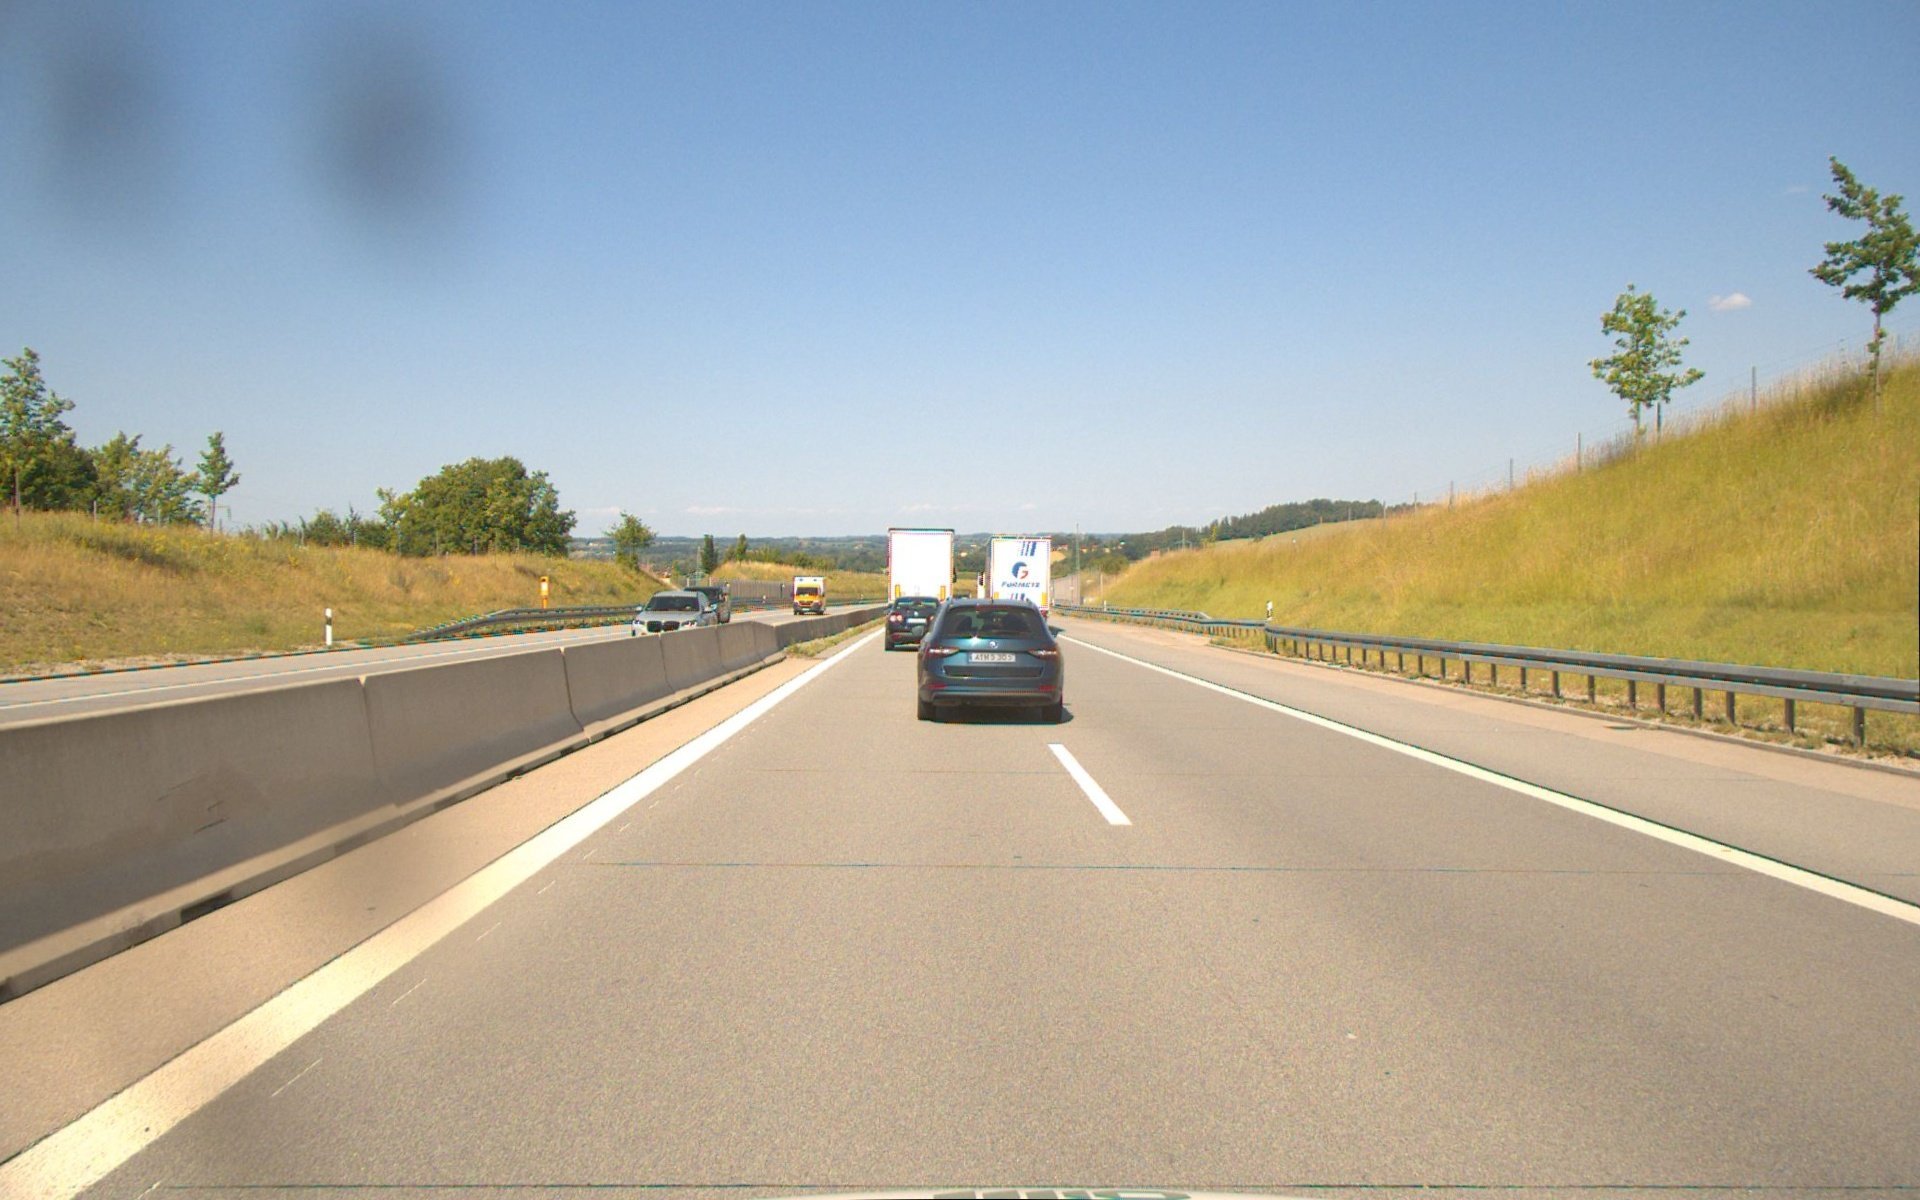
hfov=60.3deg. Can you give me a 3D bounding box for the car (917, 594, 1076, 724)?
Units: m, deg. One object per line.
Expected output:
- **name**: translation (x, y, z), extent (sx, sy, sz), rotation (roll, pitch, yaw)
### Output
- **car**: translation (0.369, 0.664, 20.756), extent (1.741, 1.466, 3.787), rotation (0, 0, -2)

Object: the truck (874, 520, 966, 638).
- **truck**: translation (-1.533, -0.857, 69.725), extent (3.144, 4.457, 11.236), rotation (-2, 0, 2)

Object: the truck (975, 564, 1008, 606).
- **truck**: translation (3.606, -1.683, 188.914), extent (3.530, 4.457, 11.235), rotation (-2, 0, 1)

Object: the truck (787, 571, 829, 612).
- **truck**: translation (-11.703, -0.665, 127.930), extent (2.718, 3.074, 6.791), rotation (0, 0, -1)

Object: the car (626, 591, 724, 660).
- **car**: translation (-7.769, 0.651, 45.523), extent (1.892, 1.762, 4.885), rotation (1, 0, -1)

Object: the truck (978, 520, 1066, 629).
- **truck**: translation (2.728, -1.109, 75.135), extent (3.530, 4.457, 11.235), rotation (-2, 0, 1)

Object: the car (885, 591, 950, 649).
- **car**: translation (-1.190, 0.523, 45.586), extent (1.666, 1.466, 3.998), rotation (-2, 0, -2)

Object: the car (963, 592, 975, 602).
- **car**: translation (1.344, -0.498, 242.459), extent (1.665, 1.466, 4.000), rotation (0, 0, 0)

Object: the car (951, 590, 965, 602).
- **car**: translation (-0.241, -0.448, 202.097), extent (1.665, 1.466, 4.000), rotation (0, 0, 0)
